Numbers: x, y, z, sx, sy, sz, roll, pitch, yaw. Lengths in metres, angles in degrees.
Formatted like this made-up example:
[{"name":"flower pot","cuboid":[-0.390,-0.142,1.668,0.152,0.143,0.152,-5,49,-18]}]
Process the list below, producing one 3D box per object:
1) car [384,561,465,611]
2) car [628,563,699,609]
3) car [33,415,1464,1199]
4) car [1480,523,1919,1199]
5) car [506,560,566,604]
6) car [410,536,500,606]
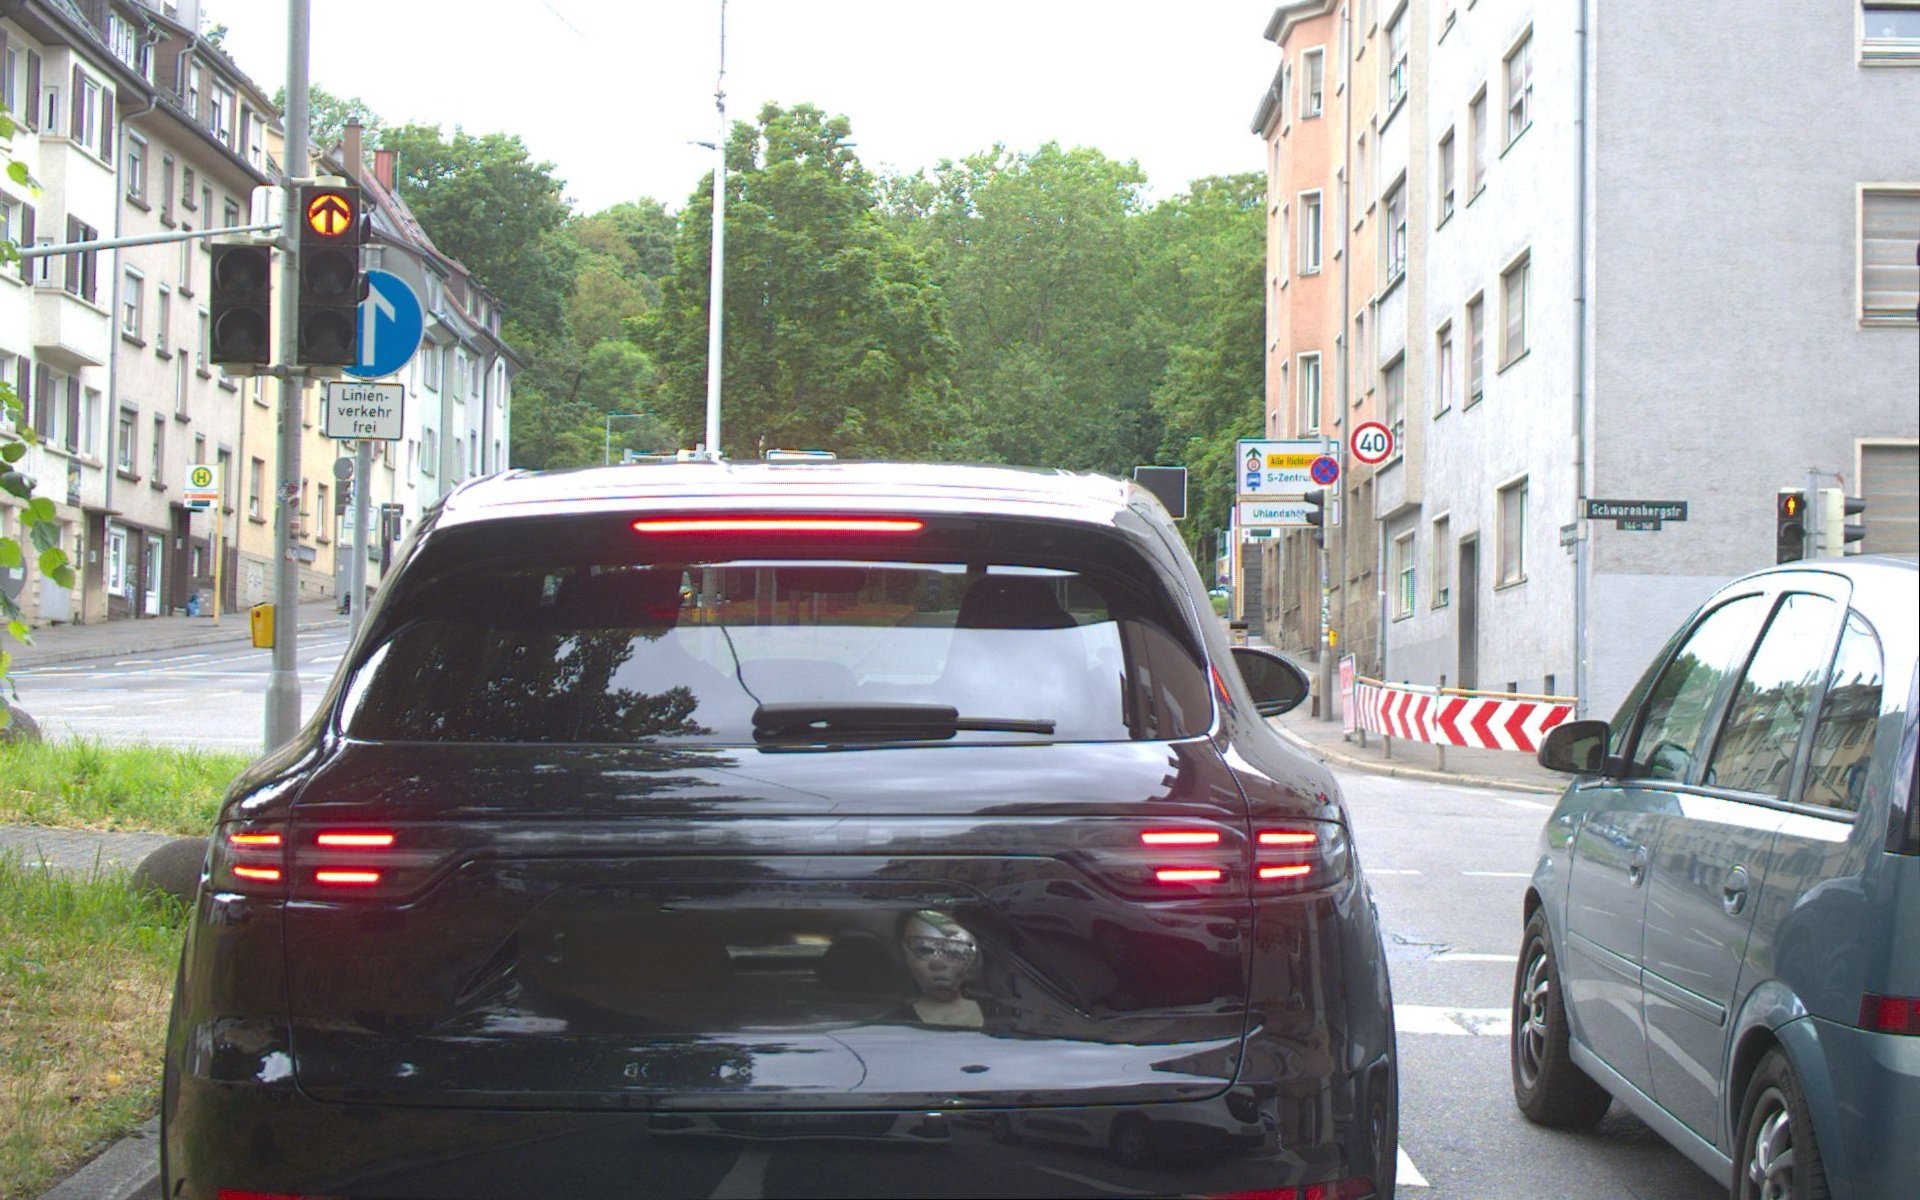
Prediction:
[{"name":"car","cuboid":[-15.376,-0.418,98.866,1.739,1.382,3.814,1,1,0]},{"name":"car","cuboid":[-9.326,-0.455,108.407,1.862,1.383,4.094,1,1,0]},{"name":"car","cuboid":[-0.312,0.562,6.708,1.955,1.669,4.000,0,1,-1]},{"name":"car","cuboid":[2.352,0.694,7.875,1.628,1.592,3.669,4,1,-1]},{"name":"car","cuboid":[-15.404,-0.669,125.046,1.689,1.533,3.814,1,1,0]},{"name":"car","cuboid":[-15.296,-0.887,104.316,2.016,2.038,4.667,1,1,0]}]
